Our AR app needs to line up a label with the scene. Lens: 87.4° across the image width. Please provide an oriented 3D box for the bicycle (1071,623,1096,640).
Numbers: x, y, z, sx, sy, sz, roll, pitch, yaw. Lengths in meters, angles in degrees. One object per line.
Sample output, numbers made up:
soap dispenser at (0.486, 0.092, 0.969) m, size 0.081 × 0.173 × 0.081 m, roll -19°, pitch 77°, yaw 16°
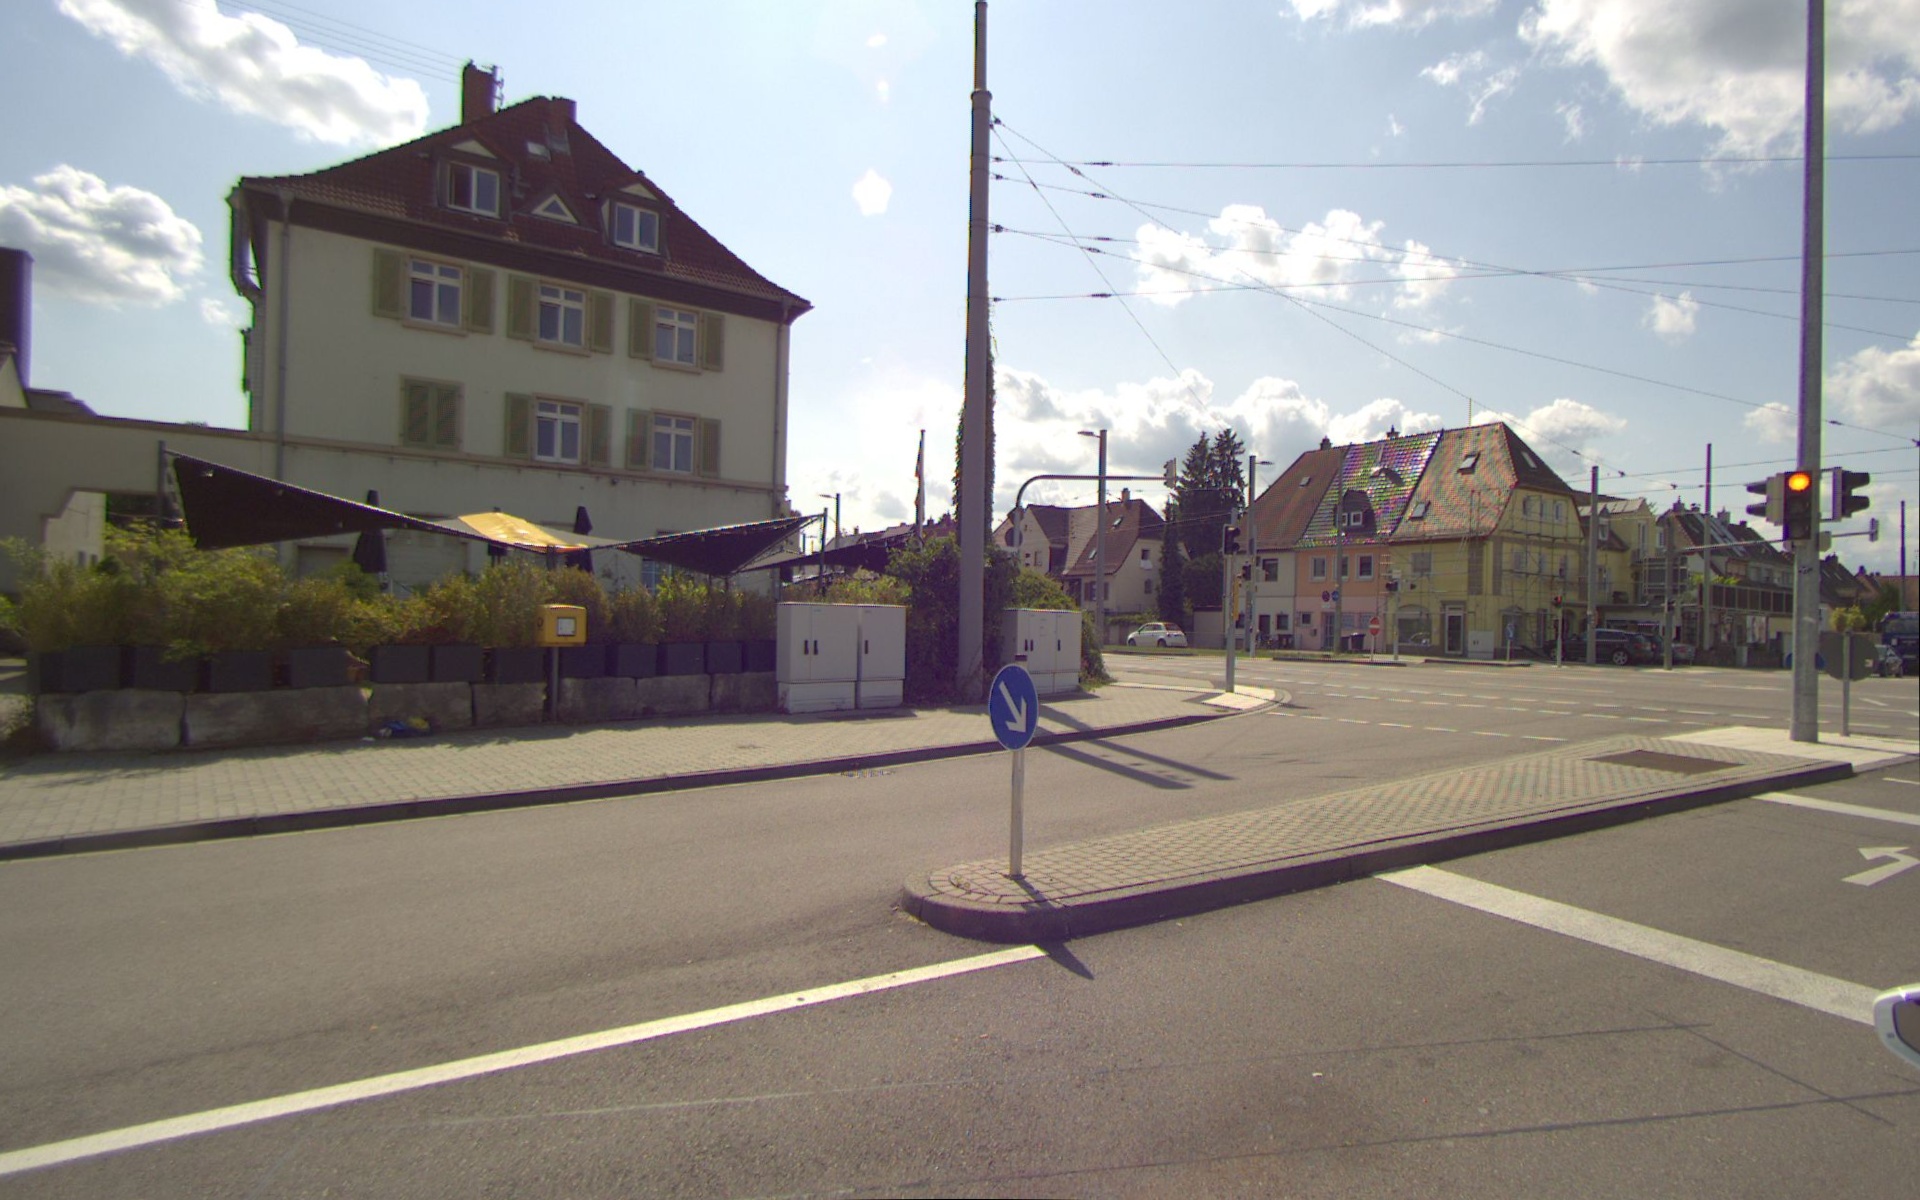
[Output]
bicycle at (8.436, 2.150, 68.748) m, size 0.687 × 1.092 × 1.889 m, roll 1°, pitch -1°, yaw -33°

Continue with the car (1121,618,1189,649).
car at (10.440, 1.797, 53.980) m, size 1.569 × 1.528 × 3.517 m, roll 2°, pitch 0°, yaw -34°

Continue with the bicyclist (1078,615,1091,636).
bicyclist at (8.495, 1.771, 68.670) m, size 0.571 × 1.416 × 0.718 m, roll 1°, pitch -1°, yaw -31°

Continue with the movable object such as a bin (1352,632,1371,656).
movable object such as a bin at (22.036, 2.414, 55.157) m, size 0.674 × 1.277 × 0.677 m, roll 2°, pitch 0°, yaw -33°

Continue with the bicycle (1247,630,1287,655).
bicycle at (18.069, 2.497, 59.087) m, size 2.428 × 1.374 × 0.770 m, roll 2°, pitch 0°, yaw -29°

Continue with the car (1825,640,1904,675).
car at (41.598, 2.632, 46.183) m, size 4.291 × 1.506 × 1.816 m, roll 3°, pitch -2°, yaw -35°

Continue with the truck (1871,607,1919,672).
truck at (50.860, 2.141, 53.152) m, size 7.516 × 3.230 × 2.747 m, roll 3°, pitch -2°, yaw -38°

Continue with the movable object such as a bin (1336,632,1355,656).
movable object such as a bin at (20.909, 2.376, 54.470) m, size 0.674 × 1.277 × 0.677 m, roll 2°, pitch 0°, yaw -33°

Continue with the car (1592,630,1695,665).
car at (35.104, 2.427, 51.693) m, size 1.422 × 1.513 × 4.103 m, roll 2°, pitch 0°, yaw -37°

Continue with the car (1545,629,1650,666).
car at (30.755, 2.247, 48.561) m, size 1.168 × 1.513 × 4.103 m, roll 2°, pitch 0°, yaw -37°

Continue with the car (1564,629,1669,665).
car at (32.814, 2.315, 50.300) m, size 1.493 × 1.513 × 4.103 m, roll 2°, pitch 0°, yaw -37°
